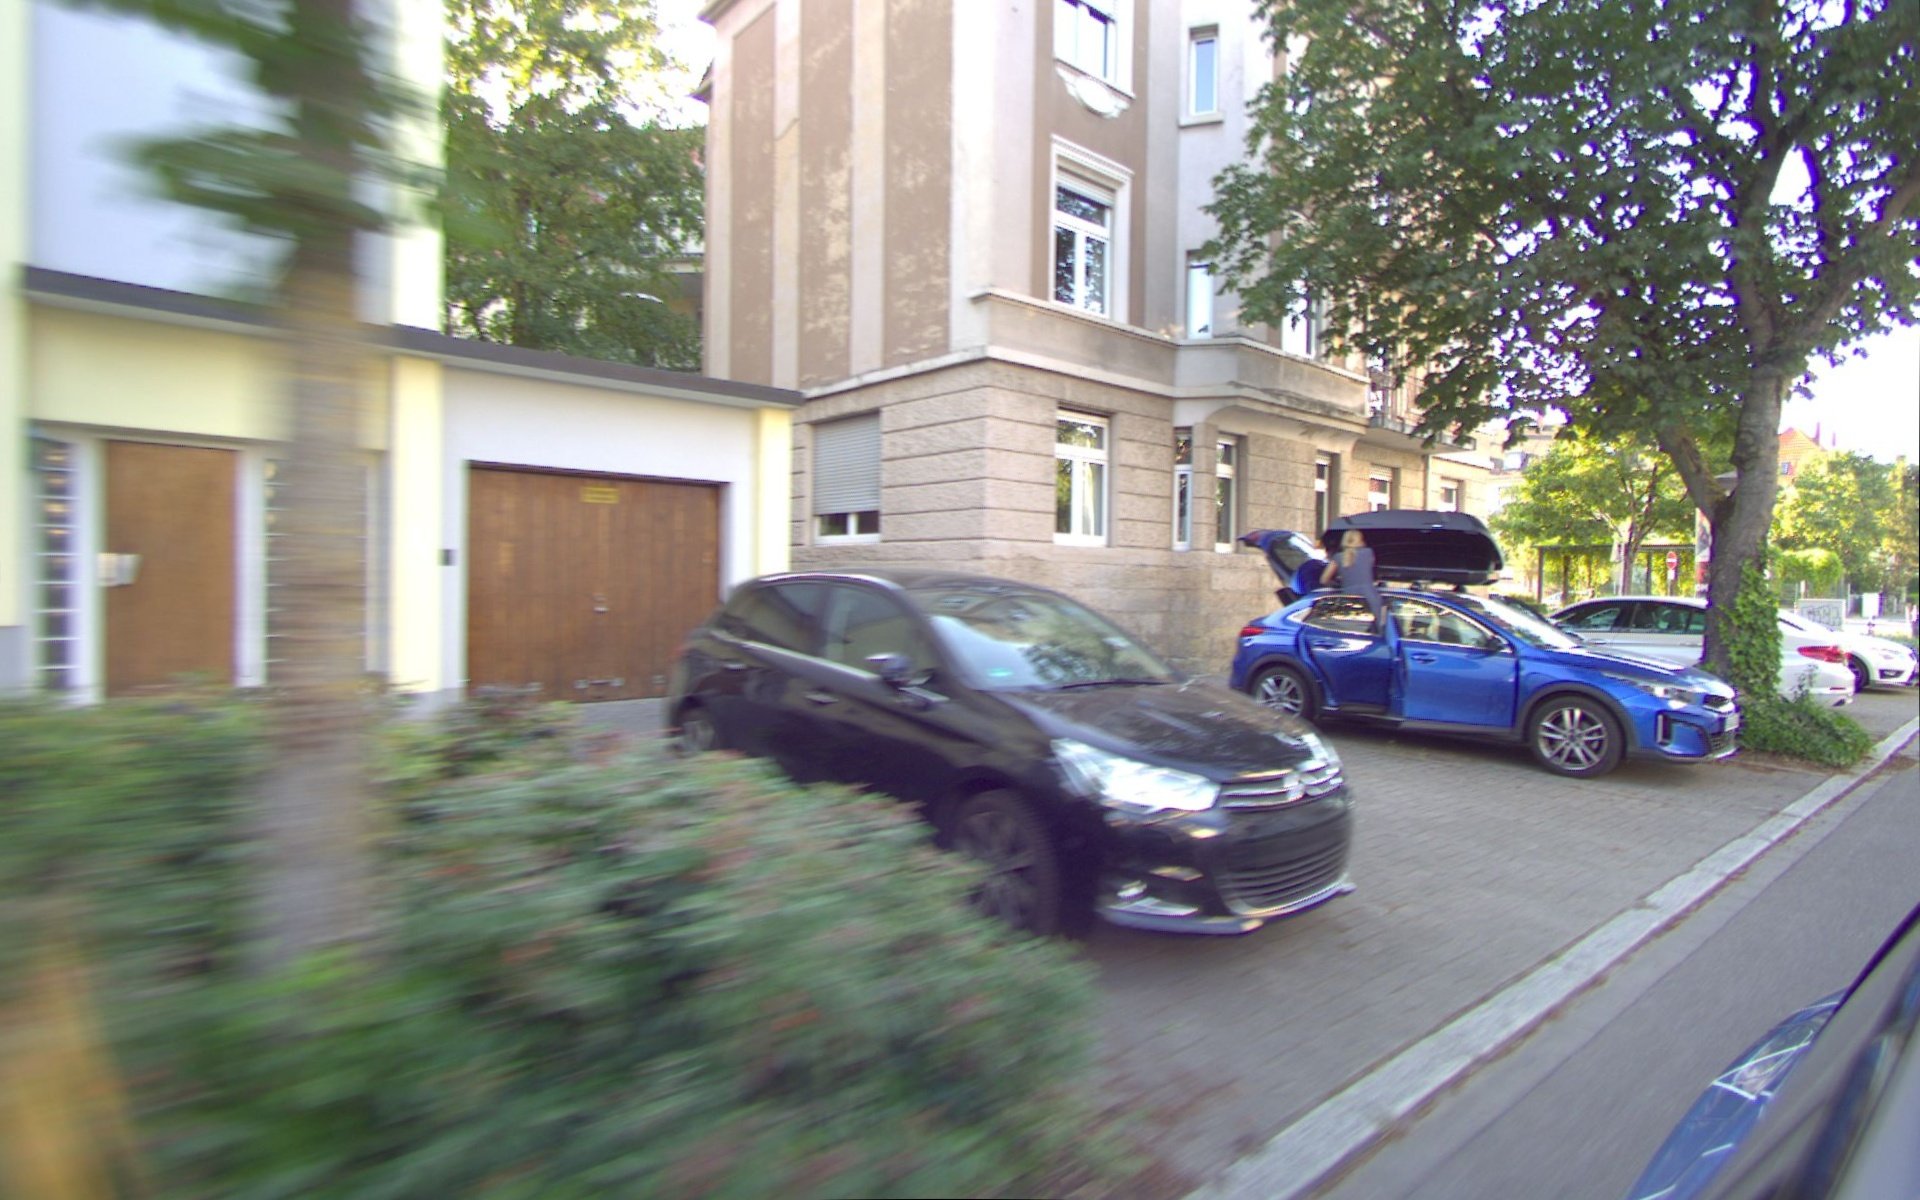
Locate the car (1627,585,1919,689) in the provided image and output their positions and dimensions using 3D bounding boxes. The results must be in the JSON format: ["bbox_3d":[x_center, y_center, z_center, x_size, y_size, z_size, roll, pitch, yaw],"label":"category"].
[{"bbox_3d":[14.289,0.548,17.678,1.830,1.524,4.055,0,2,-42],"label":"car"}]

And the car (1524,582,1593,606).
[{"bbox_3d":[41.670,-0.439,70.493,1.738,1.545,3.771,-2,2,-37],"label":"car"}]

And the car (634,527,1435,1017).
[{"bbox_3d":[0.021,0.483,5.446,1.842,1.577,4.198,0,2,-42],"label":"car"}]

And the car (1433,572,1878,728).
[{"bbox_3d":[8.839,0.506,13.138,4.478,1.544,1.923,4,2,44],"label":"car"}]

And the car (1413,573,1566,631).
[{"bbox_3d":[17.369,0.035,33.341,1.781,1.763,4.079,2,0,-43],"label":"car"}]

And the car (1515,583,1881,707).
[{"bbox_3d":[10.881,0.552,15.176,1.644,1.465,4.150,0,3,-41],"label":"car"}]

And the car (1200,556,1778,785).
[{"bbox_3d":[4.752,0.431,9.684,1.842,1.661,4.534,0,2,-41],"label":"car"}]
